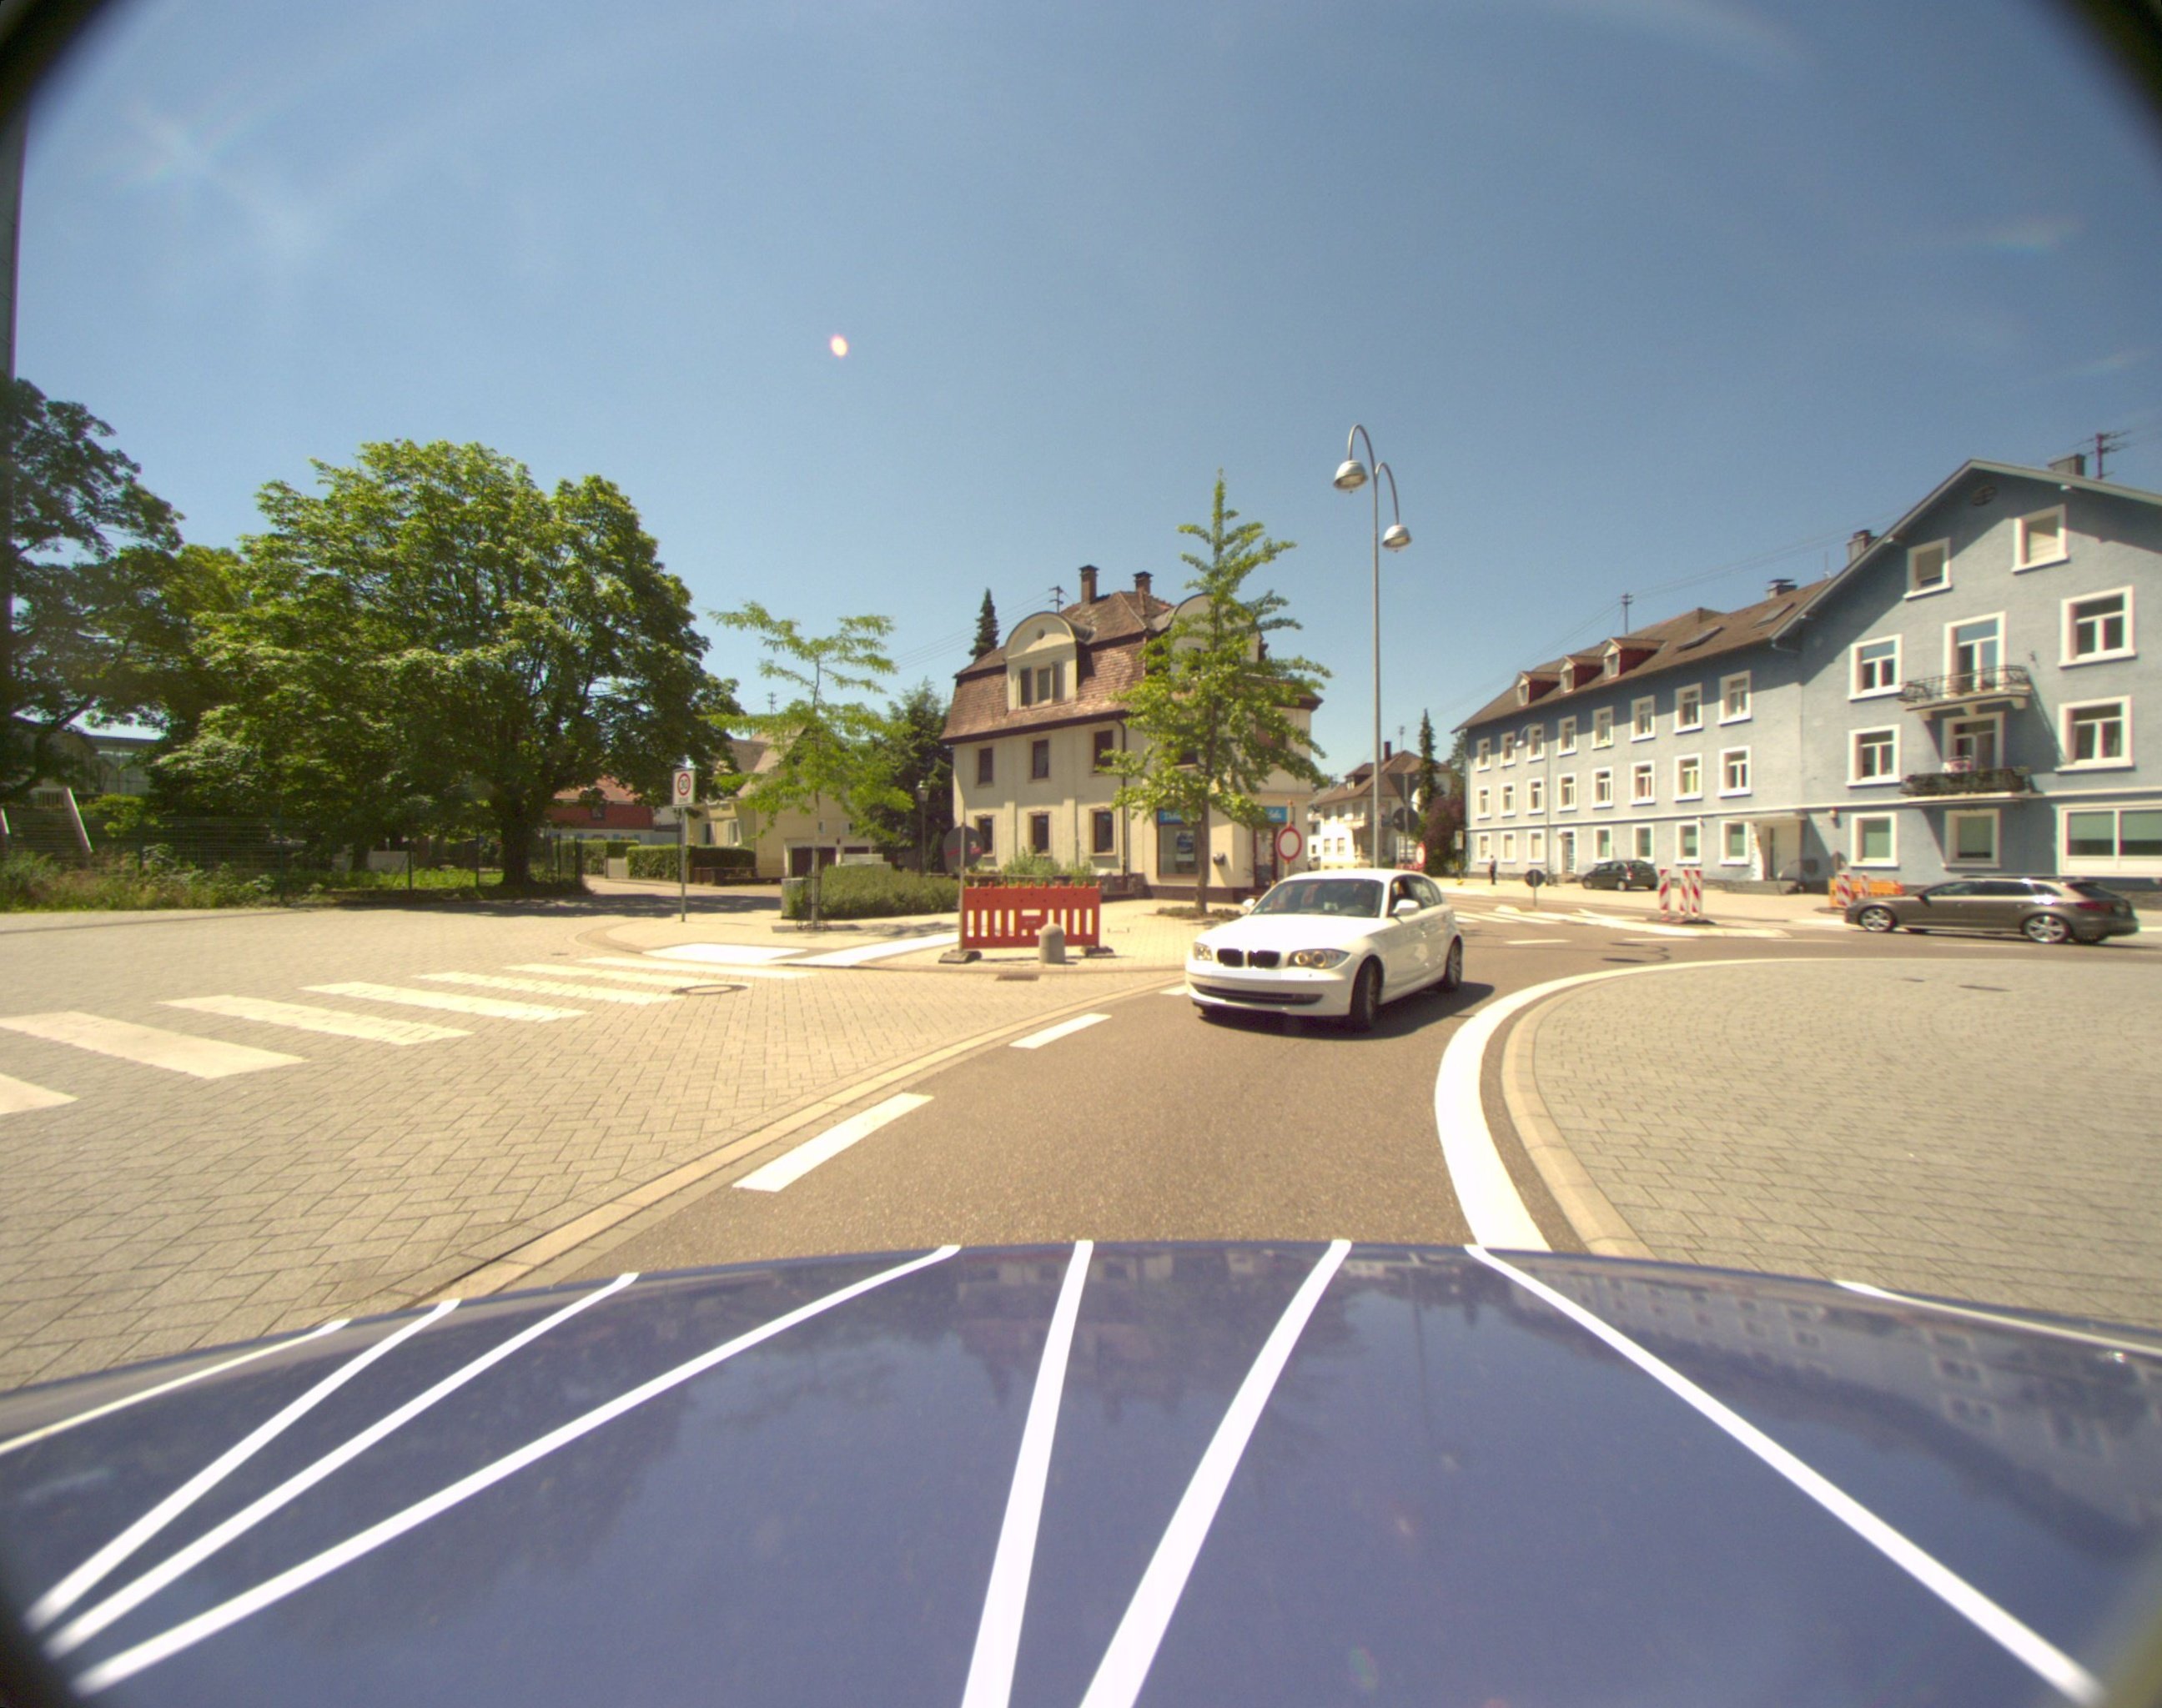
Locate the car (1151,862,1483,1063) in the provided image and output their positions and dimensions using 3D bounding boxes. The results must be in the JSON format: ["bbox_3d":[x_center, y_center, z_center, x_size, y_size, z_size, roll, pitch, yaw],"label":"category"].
[{"bbox_3d":[2.719,0.881,8.109,1.782,1.542,4.137,0,0,43],"label":"car"}]

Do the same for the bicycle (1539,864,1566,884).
[{"bbox_3d":[26.349,1.117,42.463,0.497,0.972,1.974,-4,1,9],"label":"bicycle"}]

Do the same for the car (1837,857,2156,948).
[{"bbox_3d":[20.382,0.983,17.207,1.783,1.767,4.236,1,0,-19],"label":"car"}]

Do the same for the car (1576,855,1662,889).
[{"bbox_3d":[26.905,0.863,38.168,1.582,1.526,3.773,0,2,-1],"label":"car"}]

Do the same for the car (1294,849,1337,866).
[{"bbox_3d":[27.366,0.411,88.771,4.365,1.866,1.849,1,0,-8],"label":"car"}]

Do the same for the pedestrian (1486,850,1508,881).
[{"bbox_3d":[25.324,0.681,46.267,0.758,1.837,0.772,-4,1,-2],"label":"pedestrian"}]

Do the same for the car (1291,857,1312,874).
[{"bbox_3d":[21.438,1.105,73.784,1.661,1.444,4.029,3,2,20],"label":"car"}]
